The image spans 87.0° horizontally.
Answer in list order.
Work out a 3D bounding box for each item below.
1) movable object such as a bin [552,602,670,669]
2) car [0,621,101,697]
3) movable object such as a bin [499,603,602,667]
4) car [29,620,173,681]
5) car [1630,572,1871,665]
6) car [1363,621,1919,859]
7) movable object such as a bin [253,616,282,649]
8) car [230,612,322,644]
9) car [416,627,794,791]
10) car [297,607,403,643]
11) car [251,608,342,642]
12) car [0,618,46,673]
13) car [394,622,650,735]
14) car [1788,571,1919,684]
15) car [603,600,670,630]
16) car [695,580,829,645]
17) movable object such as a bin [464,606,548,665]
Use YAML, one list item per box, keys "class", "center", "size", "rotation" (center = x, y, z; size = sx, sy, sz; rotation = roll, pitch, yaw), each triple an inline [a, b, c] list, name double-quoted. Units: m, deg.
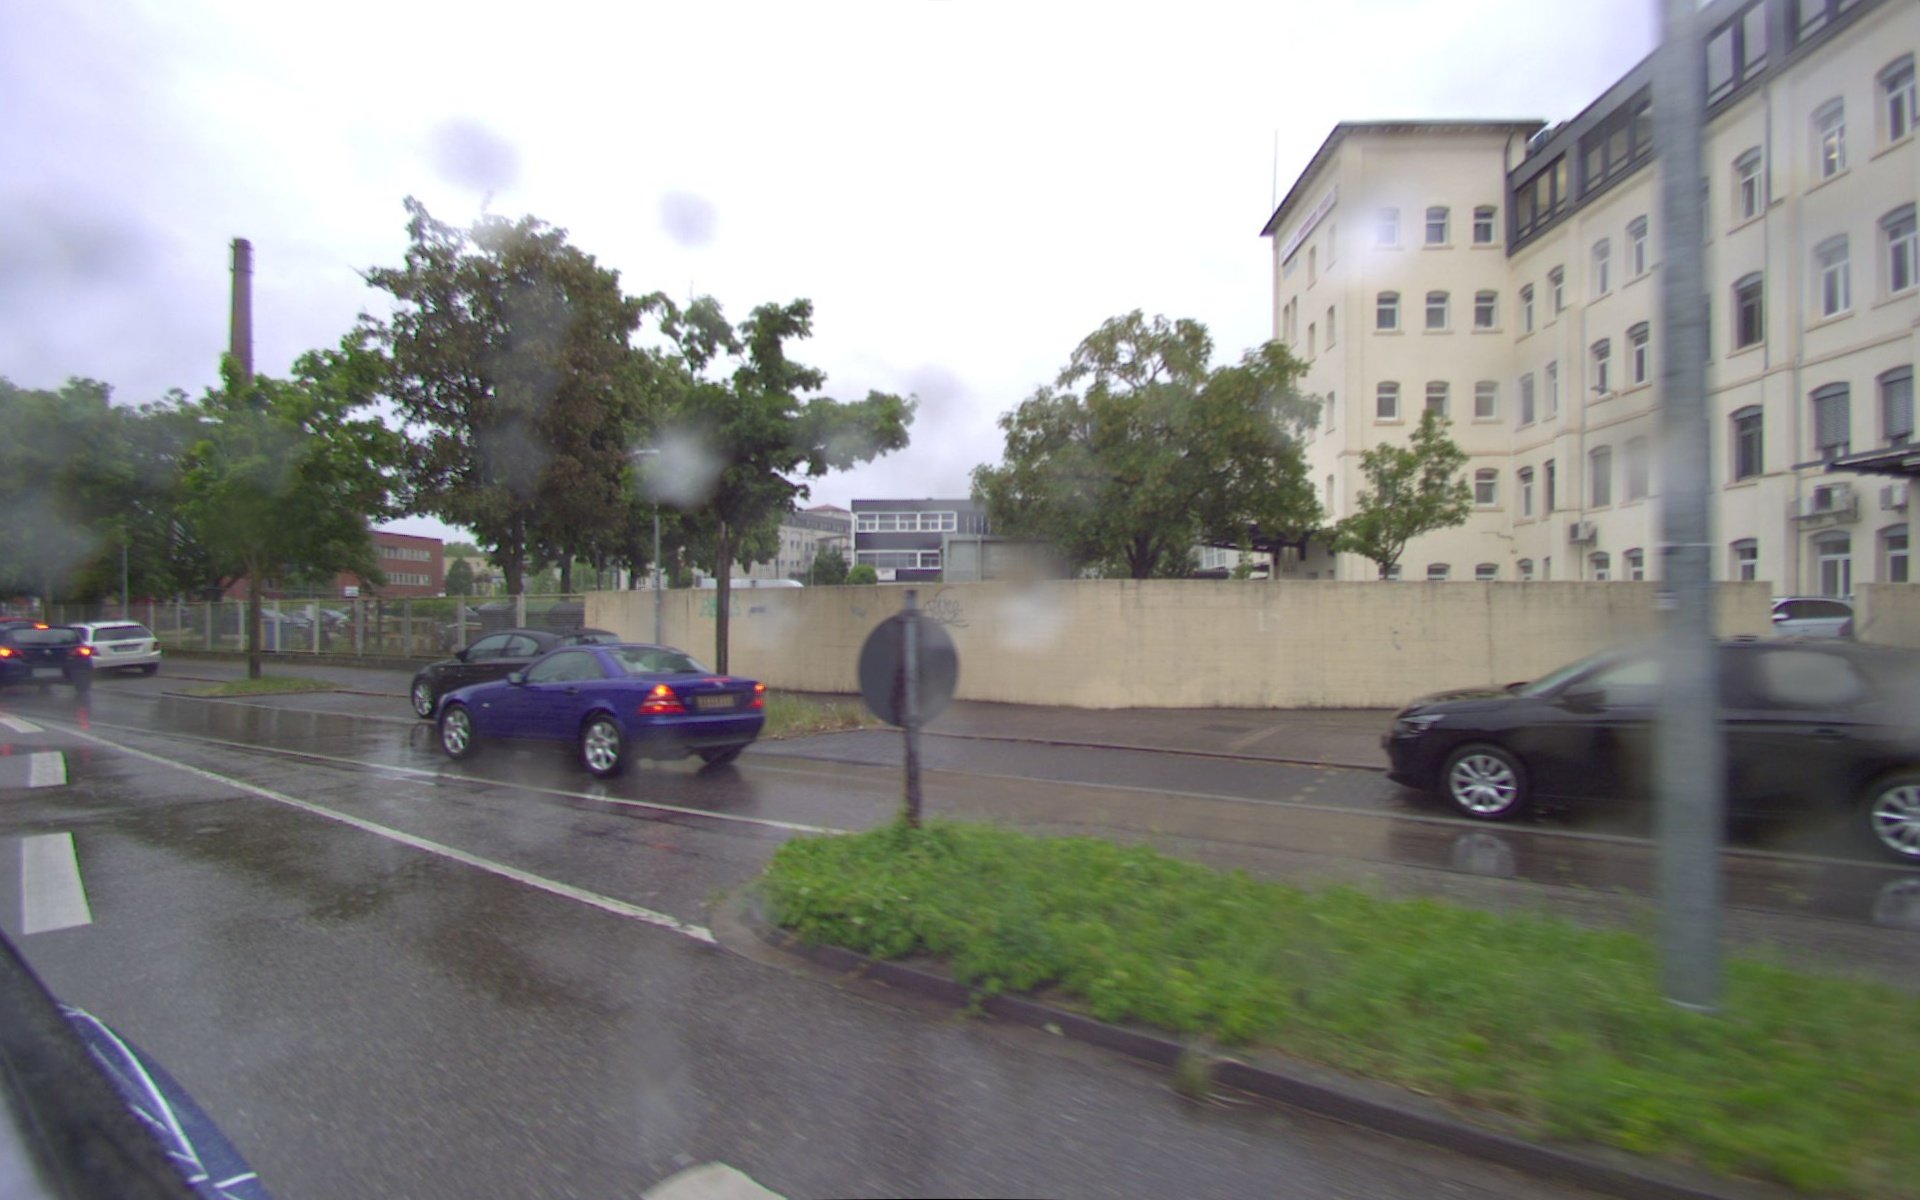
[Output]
- class: "movable object such as a bin"
  center: [-7.965, 0.777, 23.150]
  size: [1.752, 1.435, 1.894]
  rotation: [0, 0, 35]
- class: "car"
  center: [-20.219, 1.211, 21.690]
  size: [3.935, 1.512, 1.692]
  rotation: [0, -3, 34]
- class: "movable object such as a bin"
  center: [-9.780, 0.805, 24.196]
  size: [1.827, 1.452, 1.546]
  rotation: [0, 0, 35]
- class: "car"
  center: [-23.361, 1.315, 27.471]
  size: [4.667, 1.471, 1.760]
  rotation: [0, 0, 34]
- class: "car"
  center: [18.118, 0.415, 23.336]
  size: [3.944, 2.029, 2.000]
  rotation: [0, 0, 0]
- class: "car"
  center: [5.435, 0.909, 7.710]
  size: [4.167, 1.393, 1.714]
  rotation: [0, 1, 33]
- class: "movable object such as a bin"
  center: [-21.704, 1.019, 31.732]
  size: [0.712, 0.993, 0.541]
  rotation: [0, 0, 35]
- class: "car"
  center: [-37.743, 1.548, 55.906]
  size: [3.946, 1.683, 1.770]
  rotation: [0, 0, 2]
- class: "car"
  center: [-3.834, 1.038, 10.774]
  size: [3.938, 1.404, 1.713]
  rotation: [0, -3, 33]
- class: "car"
  center: [-29.511, 1.200, 49.046]
  size: [3.946, 1.683, 2.066]
  rotation: [0, 0, 2]
- class: "car"
  center: [-38.177, 1.442, 58.290]
  size: [3.946, 1.896, 1.999]
  rotation: [0, 0, 2]
- class: "car"
  center: [-30.410, 1.392, 31.741]
  size: [3.785, 1.610, 1.612]
  rotation: [0, 0, 32]
- class: "car"
  center: [-6.833, 1.106, 15.667]
  size: [4.086, 1.456, 1.682]
  rotation: [0, 1, 34]
- class: "car"
  center: [18.489, 0.476, 19.150]
  size: [3.944, 2.029, 2.000]
  rotation: [0, 0, 0]
- class: "car"
  center: [-22.508, 1.013, 70.488]
  size: [3.948, 2.029, 1.998]
  rotation: [0, 0, 4]
- class: "car"
  center: [-7.560, 0.484, 38.964]
  size: [4.660, 2.414, 2.147]
  rotation: [0, 0, 5]
- class: "movable object such as a bin"
  center: [-11.283, 0.853, 25.153]
  size: [1.259, 1.378, 1.478]
  rotation: [0, 0, 35]
